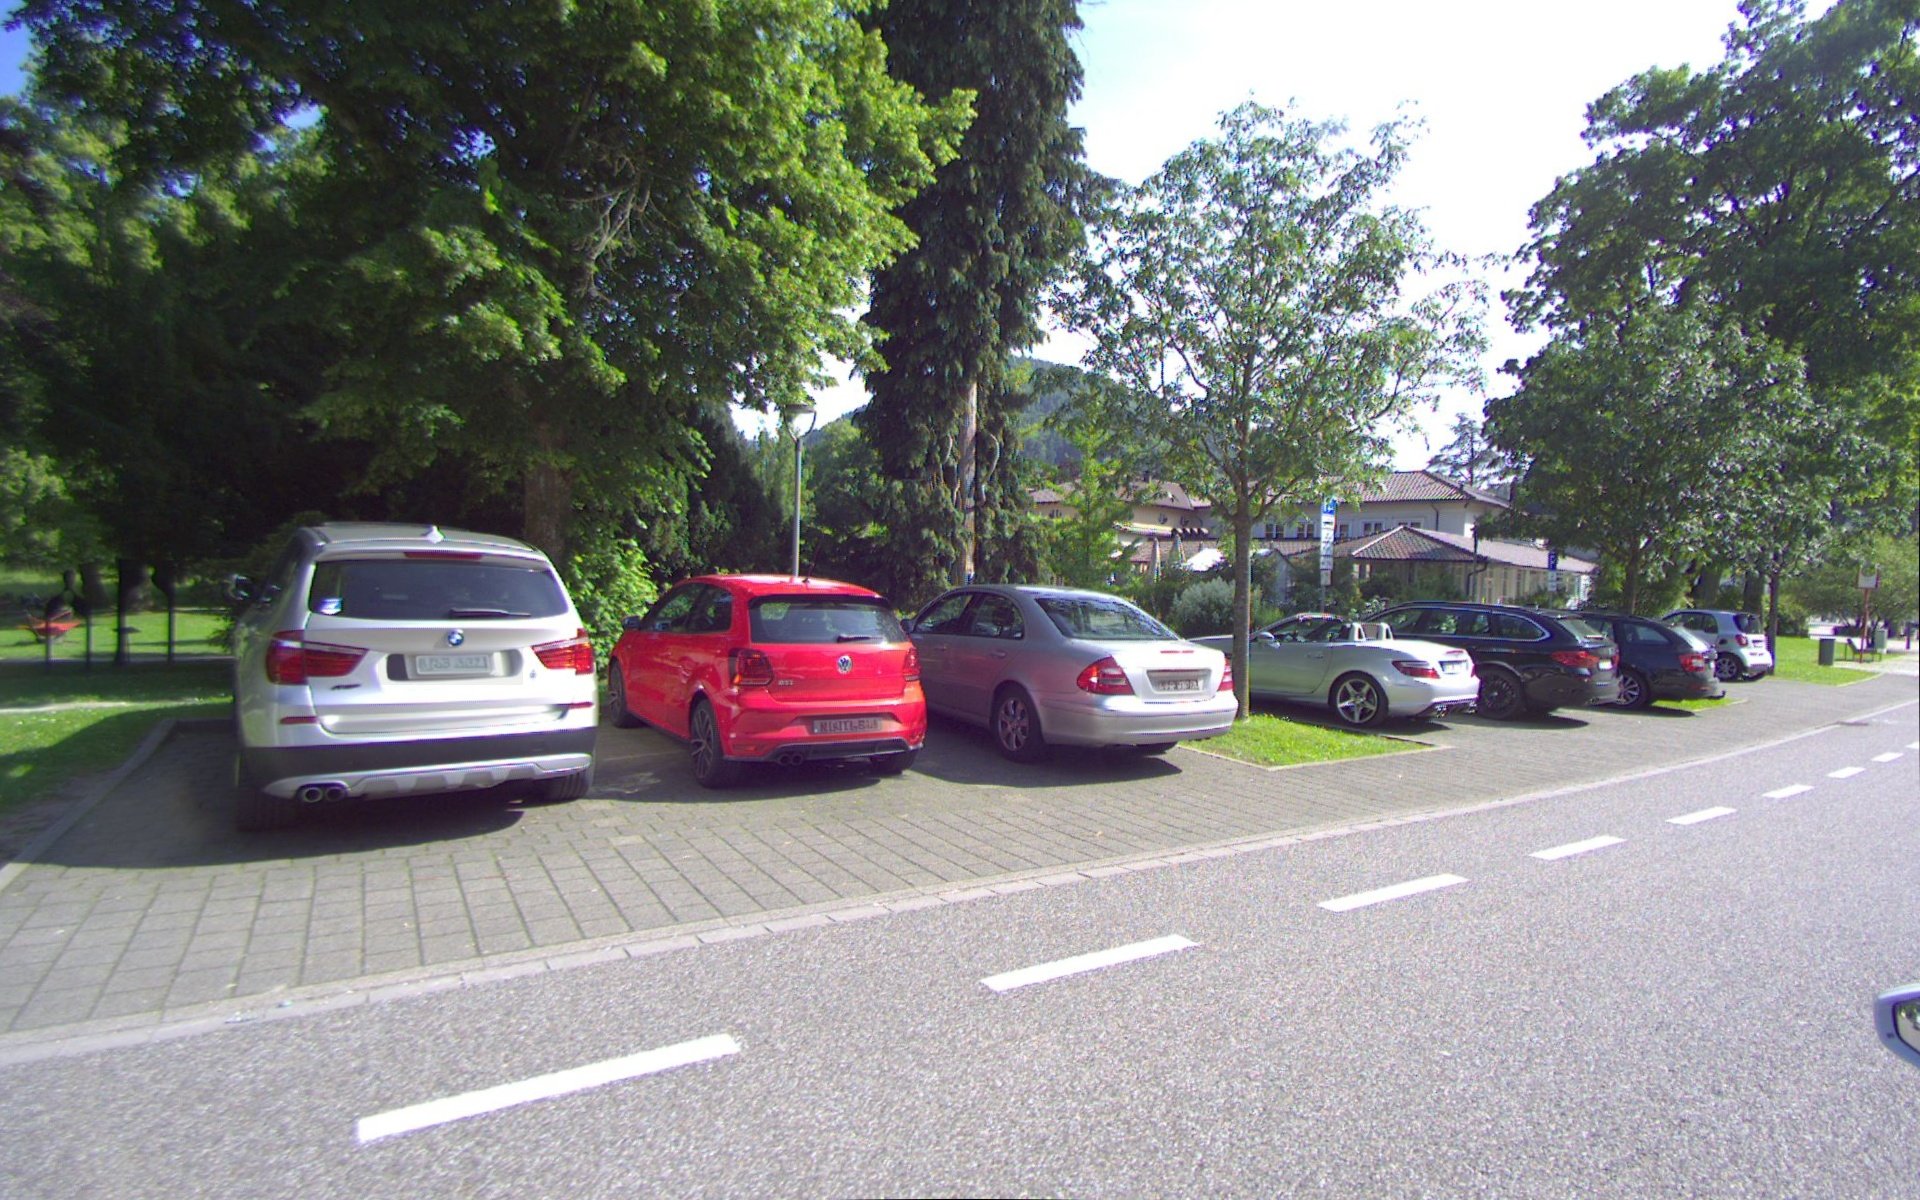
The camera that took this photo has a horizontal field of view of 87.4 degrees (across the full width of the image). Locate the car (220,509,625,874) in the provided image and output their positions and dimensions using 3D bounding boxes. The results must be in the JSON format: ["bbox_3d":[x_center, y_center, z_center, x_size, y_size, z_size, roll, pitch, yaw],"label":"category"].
[{"bbox_3d":[-3.975,0.295,6.949,1.793,1.686,4.449,2,3,-37],"label":"car"}]

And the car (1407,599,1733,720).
[{"bbox_3d":[9.881,0.873,16.508,1.702,1.451,4.231,1,3,-45],"label":"car"}]

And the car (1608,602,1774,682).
[{"bbox_3d":[16.928,0.947,23.325,1.665,1.567,2.634,2,3,-34],"label":"car"}]

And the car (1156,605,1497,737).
[{"bbox_3d":[4.600,0.807,13.022,1.748,1.259,3.761,2,2,-40],"label":"car"}]

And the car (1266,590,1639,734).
[{"bbox_3d":[6.847,0.749,14.423,1.699,1.530,4.455,1,3,-40],"label":"car"}]

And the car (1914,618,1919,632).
[{"bbox_3d":[104.230,2.677,108.356,4.159,1.482,1.724,1,0,-45],"label":"car"}]

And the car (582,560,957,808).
[{"bbox_3d":[-1.834,0.491,8.479,1.702,1.451,3.963,2,3,-33],"label":"car"}]

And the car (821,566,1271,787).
[{"bbox_3d":[0.547,0.535,9.741,1.793,1.436,4.449,2,3,-37],"label":"car"}]
